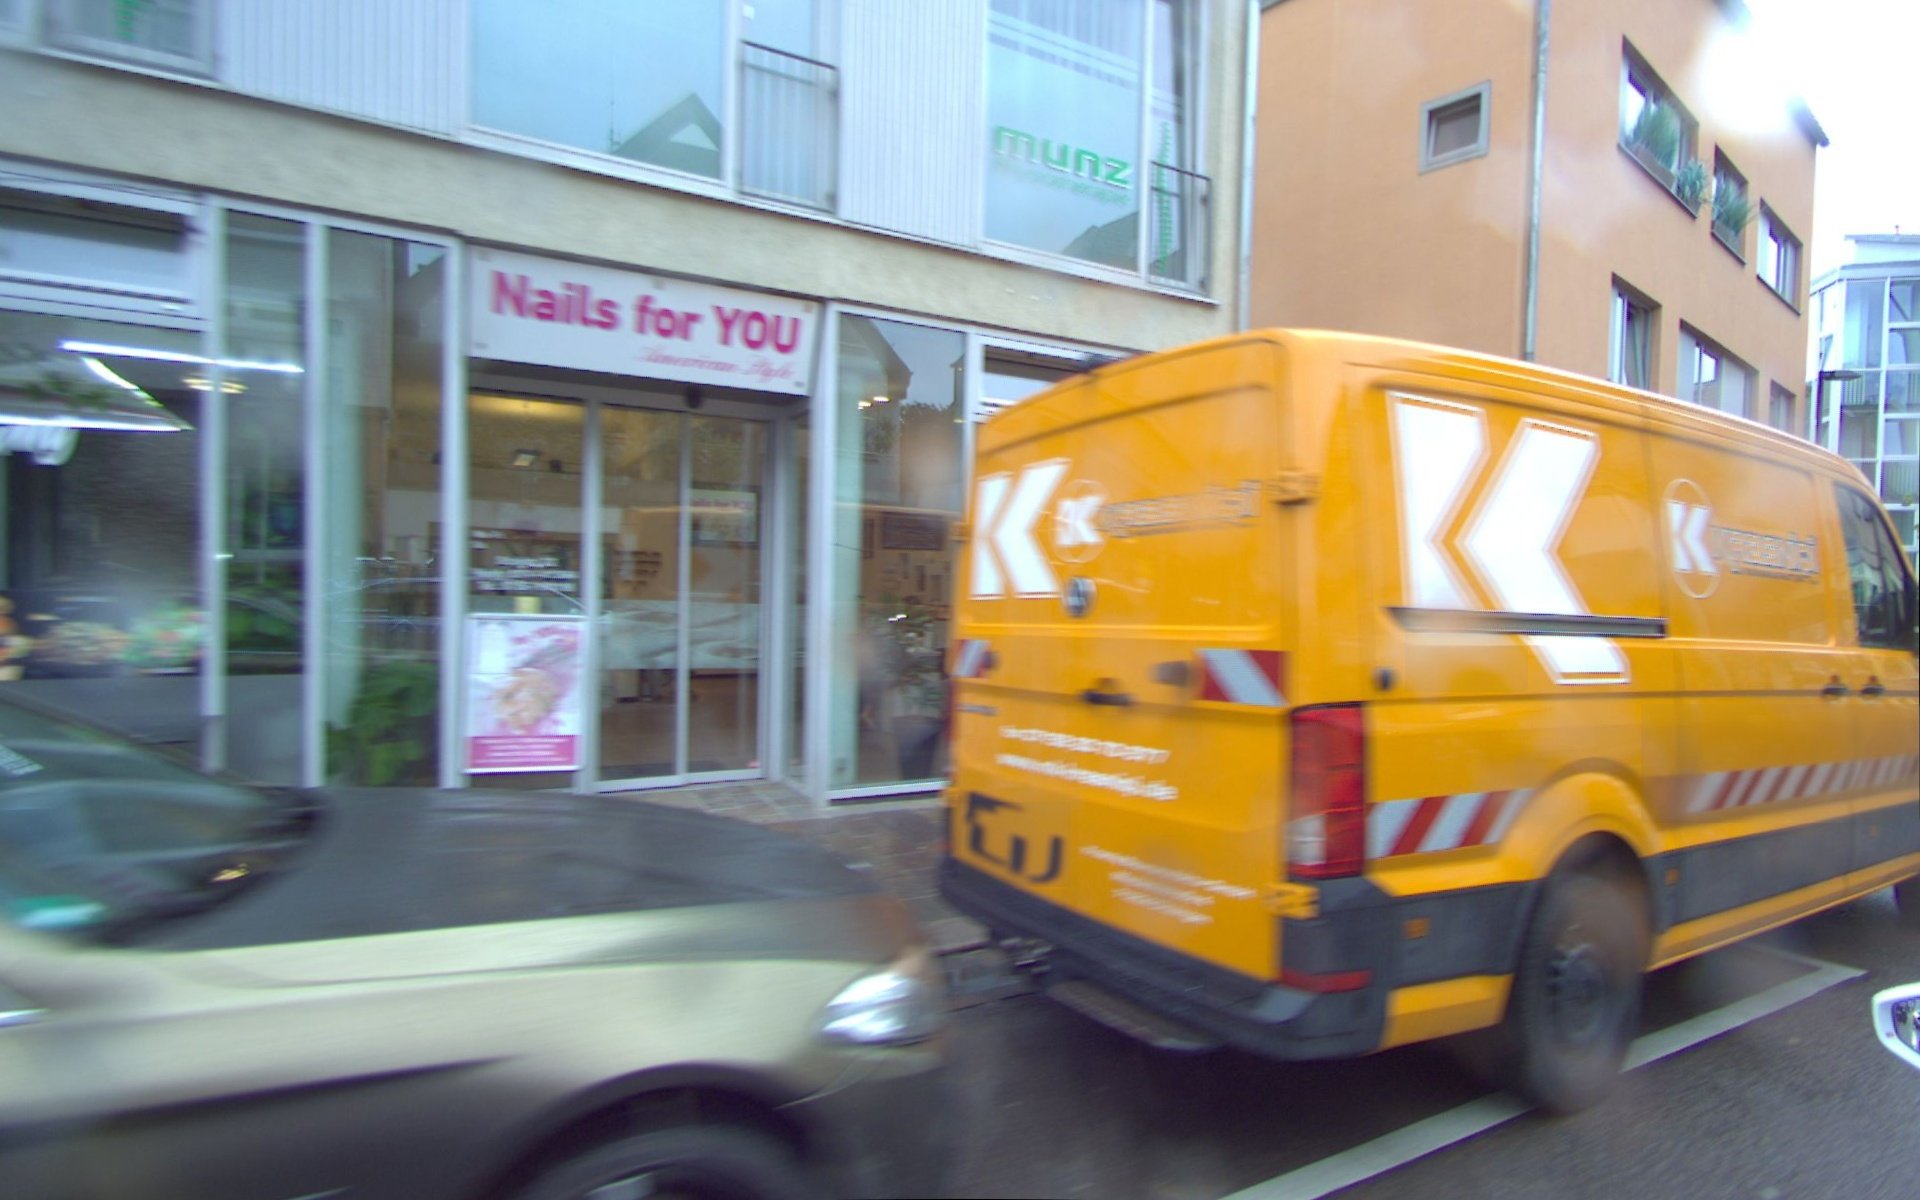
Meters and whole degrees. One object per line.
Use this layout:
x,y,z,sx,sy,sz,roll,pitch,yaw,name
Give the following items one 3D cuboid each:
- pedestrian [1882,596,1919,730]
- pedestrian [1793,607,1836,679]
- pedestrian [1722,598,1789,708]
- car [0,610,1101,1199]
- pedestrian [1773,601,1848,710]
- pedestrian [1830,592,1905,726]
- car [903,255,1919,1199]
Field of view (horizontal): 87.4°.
13.590,0.869,13.897,1.041,1.831,0.665,1,1,-5,pedestrian
20.118,1.001,23.649,0.679,1.631,0.653,0,1,-41,pedestrian
13.138,0.861,16.580,0.802,1.735,0.617,1,2,-38,pedestrian
-2.097,0.732,1.600,4.425,1.374,1.749,1,1,-28,car
13.609,0.869,16.076,0.739,1.661,0.709,1,2,-38,pedestrian
12.949,0.805,14.360,0.684,1.824,1.054,2,1,39,pedestrian
2.764,0.395,4.641,5.795,2.269,1.983,1,0,-32,car
